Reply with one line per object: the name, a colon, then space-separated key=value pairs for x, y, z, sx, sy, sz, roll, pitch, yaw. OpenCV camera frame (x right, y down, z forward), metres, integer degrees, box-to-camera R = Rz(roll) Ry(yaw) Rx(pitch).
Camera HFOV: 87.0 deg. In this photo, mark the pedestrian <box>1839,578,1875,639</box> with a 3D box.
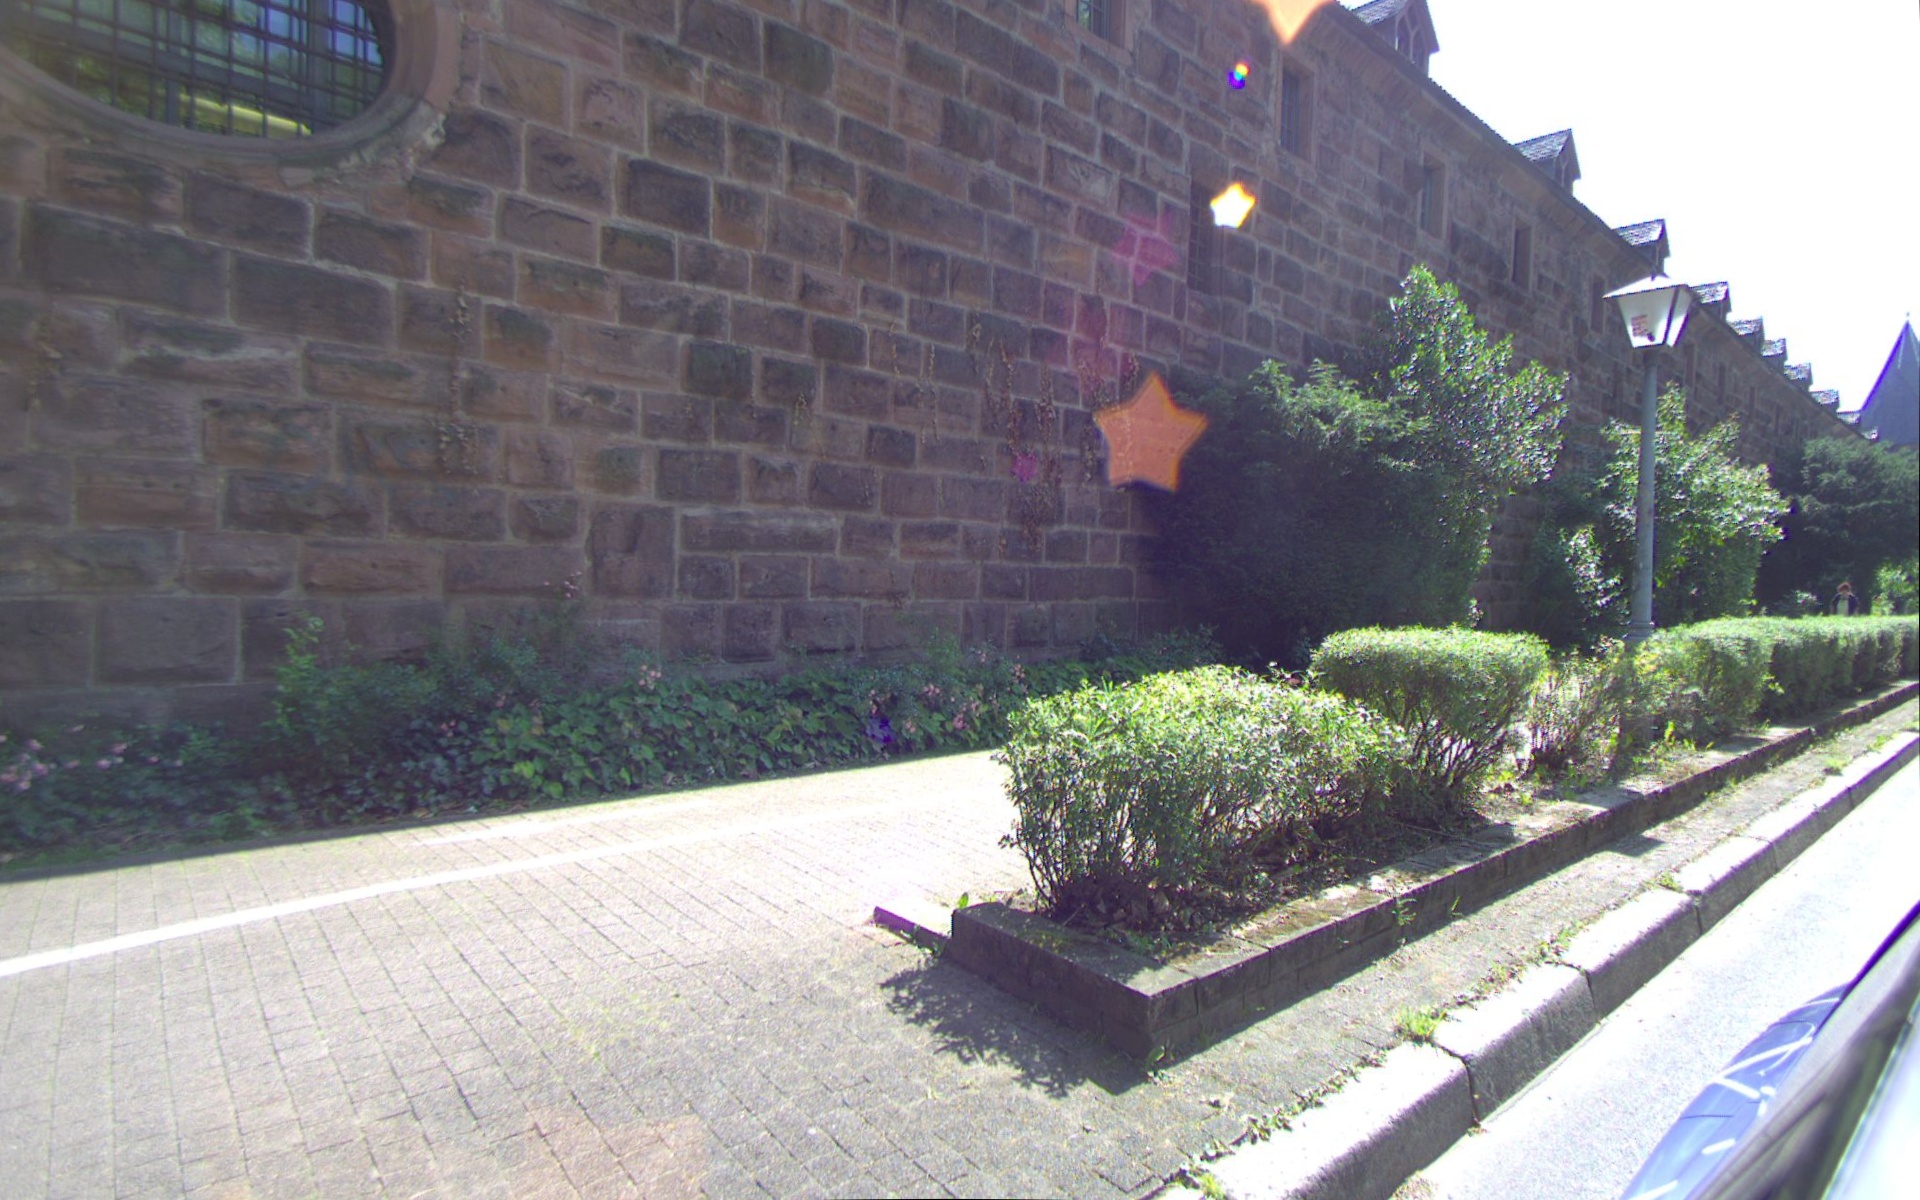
pedestrian: x=23.696 y=0.207 z=26.724 sx=0.554 sy=1.583 sz=0.642 roll=0 pitch=0 yaw=-41
